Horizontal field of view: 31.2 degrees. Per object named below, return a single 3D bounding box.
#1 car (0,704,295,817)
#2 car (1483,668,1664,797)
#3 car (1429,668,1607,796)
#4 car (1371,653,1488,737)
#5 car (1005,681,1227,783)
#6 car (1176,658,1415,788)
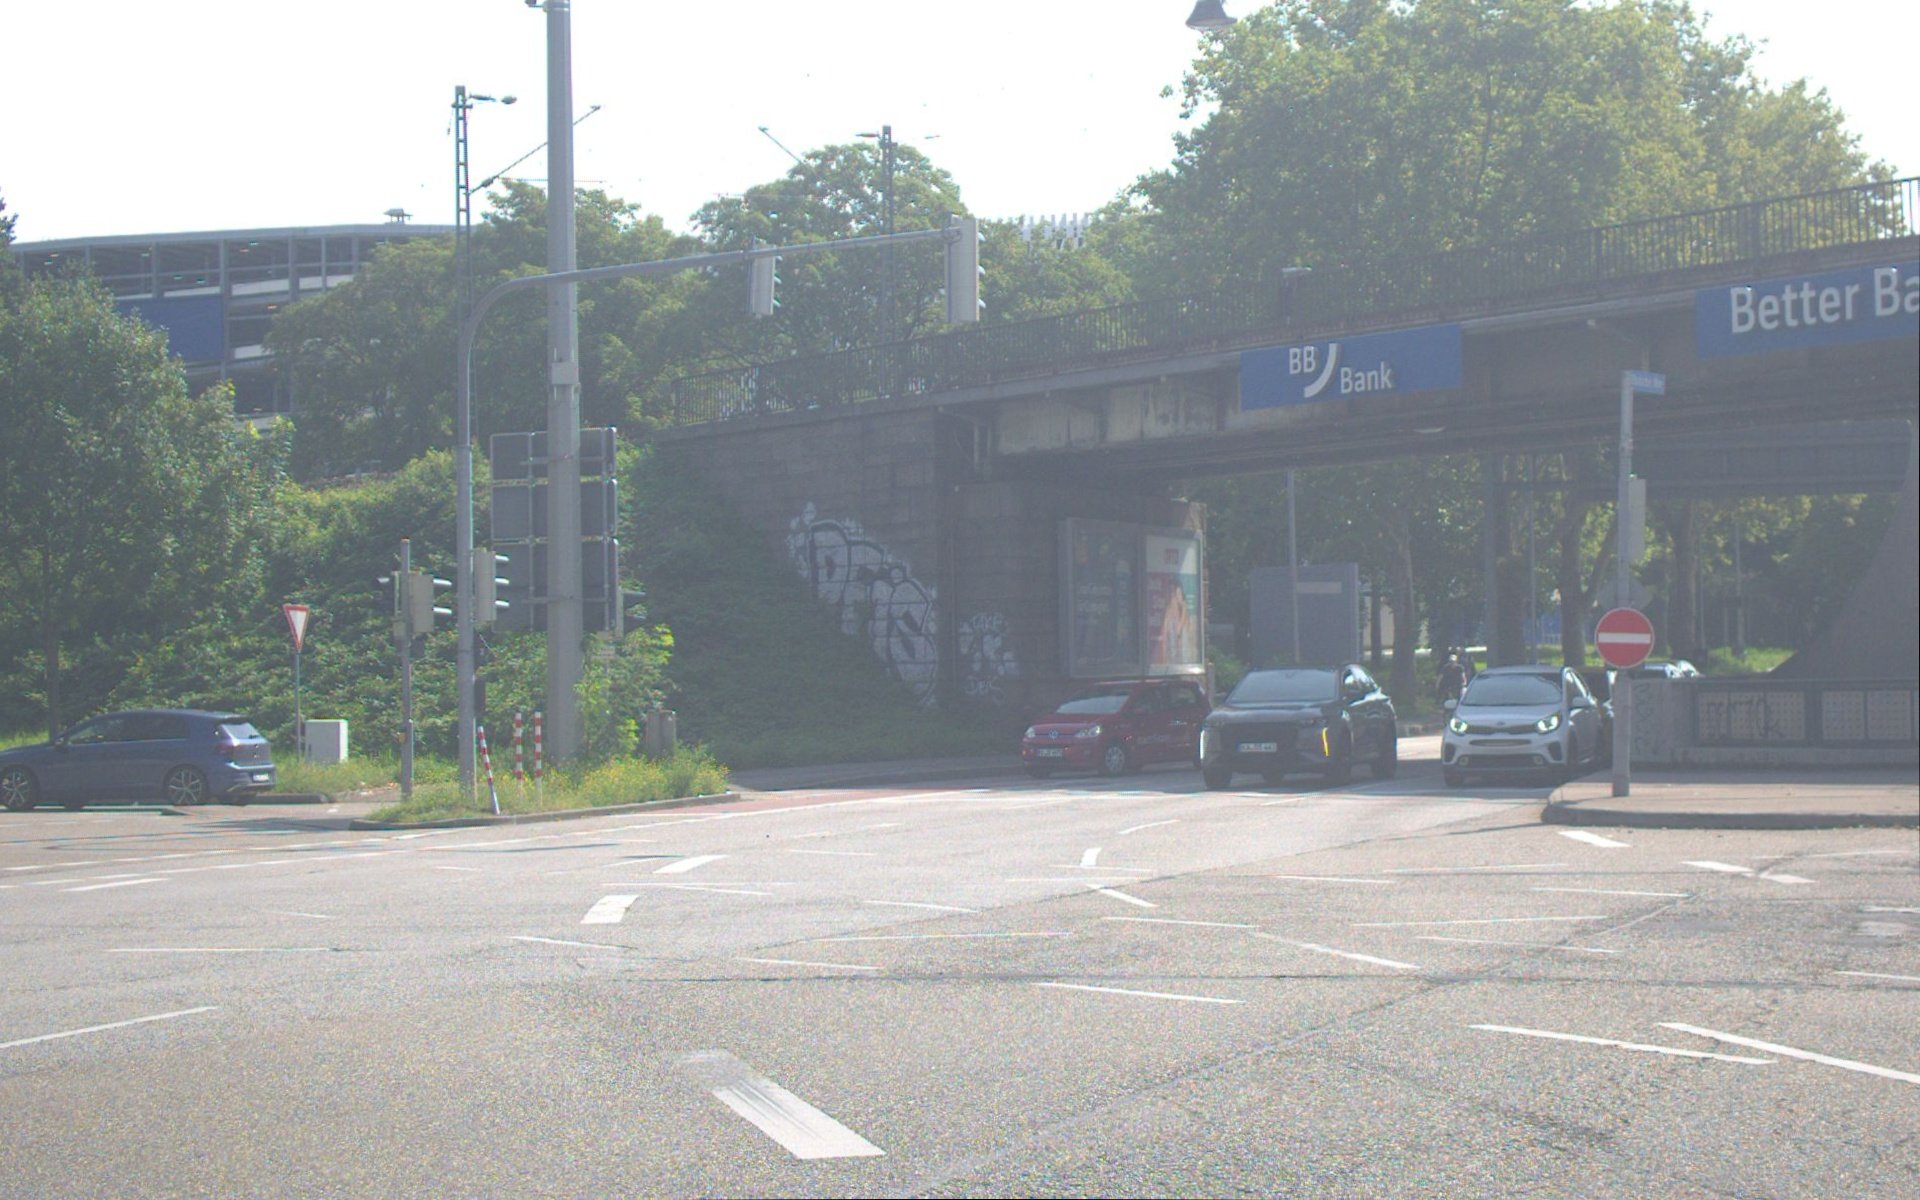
[{"bbox_3d":[-11.859,2.294,49.689,3.989,1.423,1.785,2,0,14],"label":"car"},{"bbox_3d":[8.694,1.820,48.470,1.995,1.567,4.344,0,1,17],"label":"car"},{"bbox_3d":[7.188,1.659,44.043,1.722,1.533,3.692,-2,-2,17],"label":"car"},{"bbox_3d":[11.071,2.209,80.857,1.995,1.842,3.996,1,0,18],"label":"car"},{"bbox_3d":[2.476,2.055,53.899,1.642,1.462,3.545,2,0,39],"label":"car"},{"bbox_3d":[4.572,1.634,46.294,1.904,1.612,4.468,-3,-2,23],"label":"car"}]
